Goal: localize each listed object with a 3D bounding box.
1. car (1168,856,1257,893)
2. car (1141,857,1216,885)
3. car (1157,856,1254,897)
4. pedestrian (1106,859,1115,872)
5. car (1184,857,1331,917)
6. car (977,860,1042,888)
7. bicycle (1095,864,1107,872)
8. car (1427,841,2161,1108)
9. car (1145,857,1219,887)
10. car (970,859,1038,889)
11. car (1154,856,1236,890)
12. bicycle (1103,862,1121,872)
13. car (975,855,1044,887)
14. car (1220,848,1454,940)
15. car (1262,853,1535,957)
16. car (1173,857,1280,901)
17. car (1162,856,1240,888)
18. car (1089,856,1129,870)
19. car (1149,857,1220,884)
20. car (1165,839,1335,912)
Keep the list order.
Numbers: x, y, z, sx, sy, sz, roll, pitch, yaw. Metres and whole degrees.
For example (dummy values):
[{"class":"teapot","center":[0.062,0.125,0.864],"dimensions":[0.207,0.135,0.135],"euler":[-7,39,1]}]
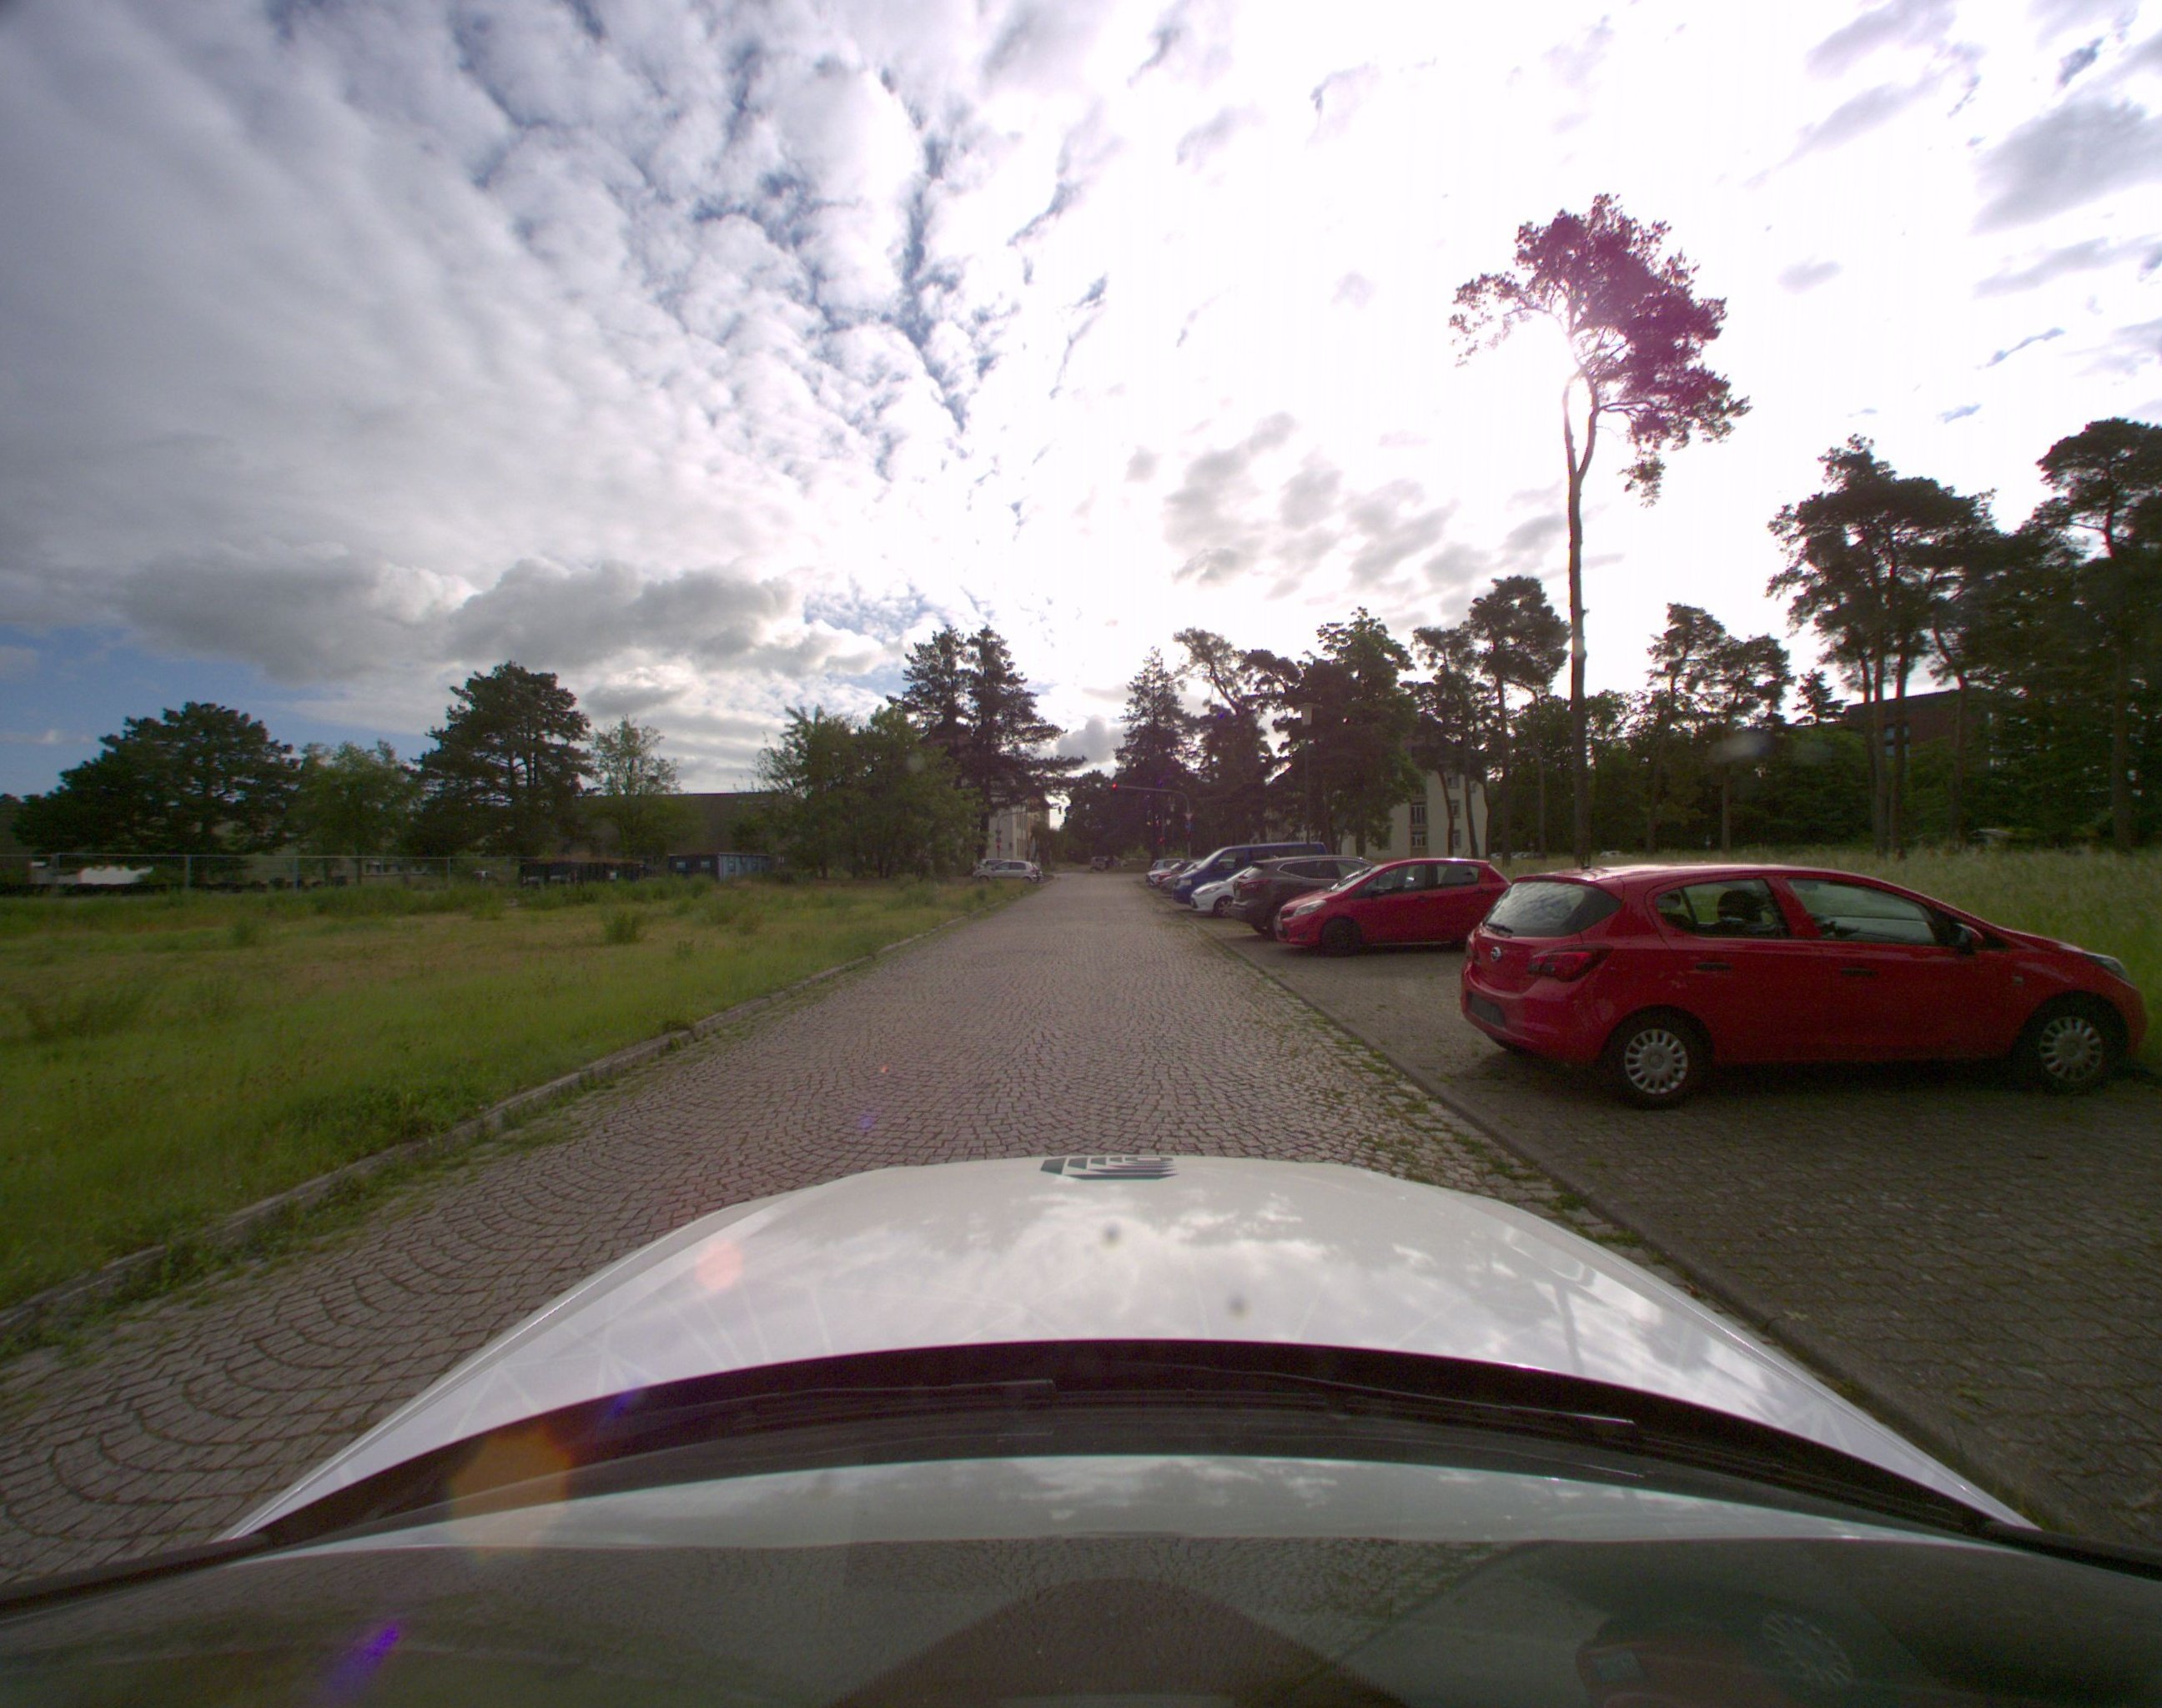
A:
[{"class":"car","center":[5.797,0.895,36.057],"dimensions":[3.661,1.449,1.523],"euler":[-2,-1,-1]},{"class":"car","center":[5.509,0.968,46.163],"dimensions":[3.959,1.421,1.618],"euler":[-2,-1,-3]},{"class":"car","center":[5.022,0.900,33.079],"dimensions":[3.661,1.449,1.523],"euler":[-2,-1,-1]},{"class":"pedestrian","center":[3.525,1.358,98.129],"dimensions":[1.031,1.614,0.756],"euler":[0,-1,-4]},{"class":"car","center":[4.793,0.877,22.428],"dimensions":[3.661,1.449,1.614],"euler":[-2,-1,-2]},{"class":"car","center":[-4.373,1.239,50.302],"dimensions":[3.808,1.572,1.564],"euler":[-2,-1,0]},{"class":"bicycle","center":[2.314,1.631,93.729],"dimensions":[0.623,0.945,1.649],"euler":[0,-1,-26]},{"class":"car","center":[4.764,0.736,5.807],"dimensions":[3.813,1.460,1.779],"euler":[-2,-1,0]},{"class":"car","center":[5.351,0.943,43.310],"dimensions":[3.664,1.421,1.522],"euler":[-2,-1,-3]},{"class":"car","center":[-4.477,1.182,47.886],"dimensions":[3.812,1.572,1.563],"euler":[-2,-1,-2]},{"class":"car","center":[5.388,0.902,38.770],"dimensions":[3.661,1.449,1.523],"euler":[-2,-1,-1]},{"class":"bicycle","center":[3.718,1.559,97.781],"dimensions":[2.132,1.215,0.621],"euler":[0,-1,-4]},{"class":"car","center":[-4.648,1.106,53.296],"dimensions":[4.248,1.840,1.744],"euler":[-2,-1,0]},{"class":"car","center":[4.930,0.757,16.049],"dimensions":[4.017,1.552,1.750],"euler":[-2,-1,-2]},{"class":"car","center":[5.064,0.793,13.395],"dimensions":[3.778,1.460,1.751],"euler":[-2,-1,1]},{"class":"car","center":[5.374,0.904,30.294],"dimensions":[3.661,1.449,1.523],"euler":[-2,-1,-1]},{"class":"car","center":[6.033,0.914,41.046],"dimensions":[3.661,1.449,1.523],"euler":[-2,-1,-1]},{"class":"car","center":[3.941,1.286,115.698],"dimensions":[5.442,2.014,2.262],"euler":[0,-1,-8]},{"class":"car","center":[6.146,0.960,48.806],"dimensions":[3.959,1.421,1.618],"euler":[-2,-1,-3]},{"class":"car","center":[5.098,0.640,25.021],"dimensions":[4.740,1.954,1.930],"euler":[-2,-1,-1]}]
